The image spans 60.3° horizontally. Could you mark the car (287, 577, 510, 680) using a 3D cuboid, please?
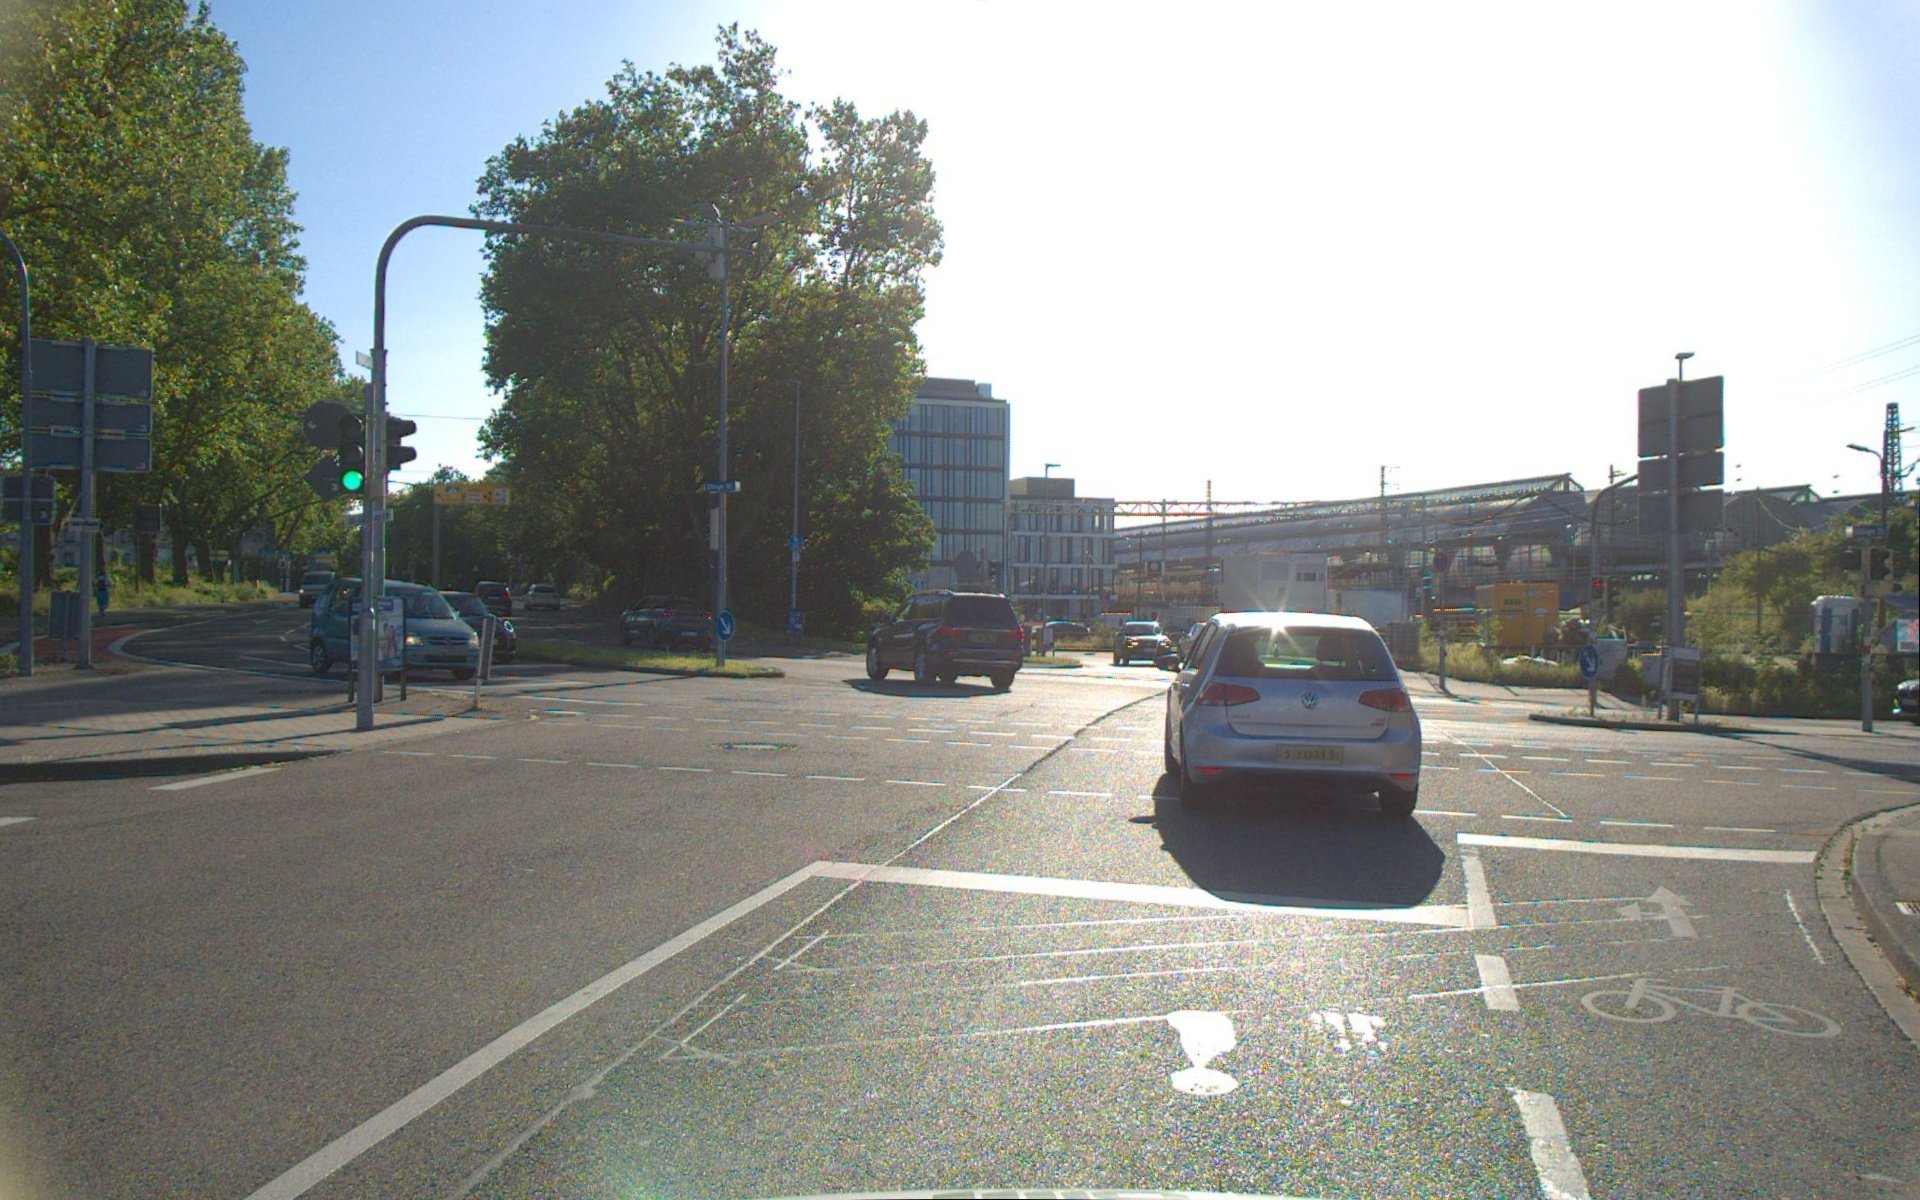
[{"bbox_3d":[-9.948,0.475,29.191,4.045,1.664,1.910,1,-1,40],"label":"car"}]

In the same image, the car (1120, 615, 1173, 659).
[{"bbox_3d":[6.815,1.348,60.821,1.711,1.502,4.002,1,0,4],"label":"car"}]

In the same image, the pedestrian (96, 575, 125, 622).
[{"bbox_3d":[-29.449,-0.058,57.371,0.716,1.619,0.801,1,0,-17],"label":"pedestrian"}]

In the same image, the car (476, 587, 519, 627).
[{"bbox_3d":[-21.498,0.334,77.056,1.823,1.774,4.249,1,0,-15],"label":"car"}]

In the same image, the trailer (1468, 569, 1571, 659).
[{"bbox_3d":[22.406,0.591,66.522,2.932,3.349,6.673,2,-1,11],"label":"trailer"}]

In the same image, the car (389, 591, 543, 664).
[{"bbox_3d":[-10.711,0.575,35.718,1.889,1.452,3.883,2,-1,-38],"label":"car"}]

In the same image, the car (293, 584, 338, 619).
[{"bbox_3d":[-33.922,0.067,87.141,1.824,1.774,4.246,1,0,-17],"label":"car"}]

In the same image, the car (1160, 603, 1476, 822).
[{"bbox_3d":[2.683,0.774,13.296,1.929,1.452,3.939,1,0,4],"label":"car"}]

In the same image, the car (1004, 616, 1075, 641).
[{"bbox_3d":[6.641,2.383,137.665,5.630,1.877,1.902,2,0,-25],"label":"car"}]

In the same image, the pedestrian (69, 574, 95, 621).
[{"bbox_3d":[-30.210,-0.086,56.919,0.653,1.614,0.628,1,0,-17],"label":"pedestrian"}]

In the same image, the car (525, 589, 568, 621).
[{"bbox_3d":[-23.145,0.263,92.552,1.827,1.679,4.240,1,0,-21],"label":"car"}]

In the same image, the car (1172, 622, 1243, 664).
[{"bbox_3d":[9.670,1.674,64.942,1.715,1.502,3.994,1,0,-7],"label":"car"}]

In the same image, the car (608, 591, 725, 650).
[{"bbox_3d":[-9.100,0.610,51.061,1.927,1.743,4.146,1,0,-37],"label":"car"}]

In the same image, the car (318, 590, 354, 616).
[{"bbox_3d":[-40.638,0.192,107.713,1.824,1.627,4.305,2,0,-17],"label":"car"}]

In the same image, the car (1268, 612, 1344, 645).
[{"bbox_3d":[19.741,1.625,94.344,3.915,1.735,1.611,2,-1,-11],"label":"car"}]

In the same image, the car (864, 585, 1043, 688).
[{"bbox_3d":[-0.230,0.695,33.513,2.082,1.920,4.783,1,0,-21],"label":"car"}]

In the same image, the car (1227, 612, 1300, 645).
[{"bbox_3d":[17.946,1.695,97.960,3.915,1.819,1.651,2,-1,-11],"label":"car"}]

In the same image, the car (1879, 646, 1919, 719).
[{"bbox_3d":[22.669,1.843,36.052,4.289,1.544,1.954,2,-1,-6],"label":"car"}]
